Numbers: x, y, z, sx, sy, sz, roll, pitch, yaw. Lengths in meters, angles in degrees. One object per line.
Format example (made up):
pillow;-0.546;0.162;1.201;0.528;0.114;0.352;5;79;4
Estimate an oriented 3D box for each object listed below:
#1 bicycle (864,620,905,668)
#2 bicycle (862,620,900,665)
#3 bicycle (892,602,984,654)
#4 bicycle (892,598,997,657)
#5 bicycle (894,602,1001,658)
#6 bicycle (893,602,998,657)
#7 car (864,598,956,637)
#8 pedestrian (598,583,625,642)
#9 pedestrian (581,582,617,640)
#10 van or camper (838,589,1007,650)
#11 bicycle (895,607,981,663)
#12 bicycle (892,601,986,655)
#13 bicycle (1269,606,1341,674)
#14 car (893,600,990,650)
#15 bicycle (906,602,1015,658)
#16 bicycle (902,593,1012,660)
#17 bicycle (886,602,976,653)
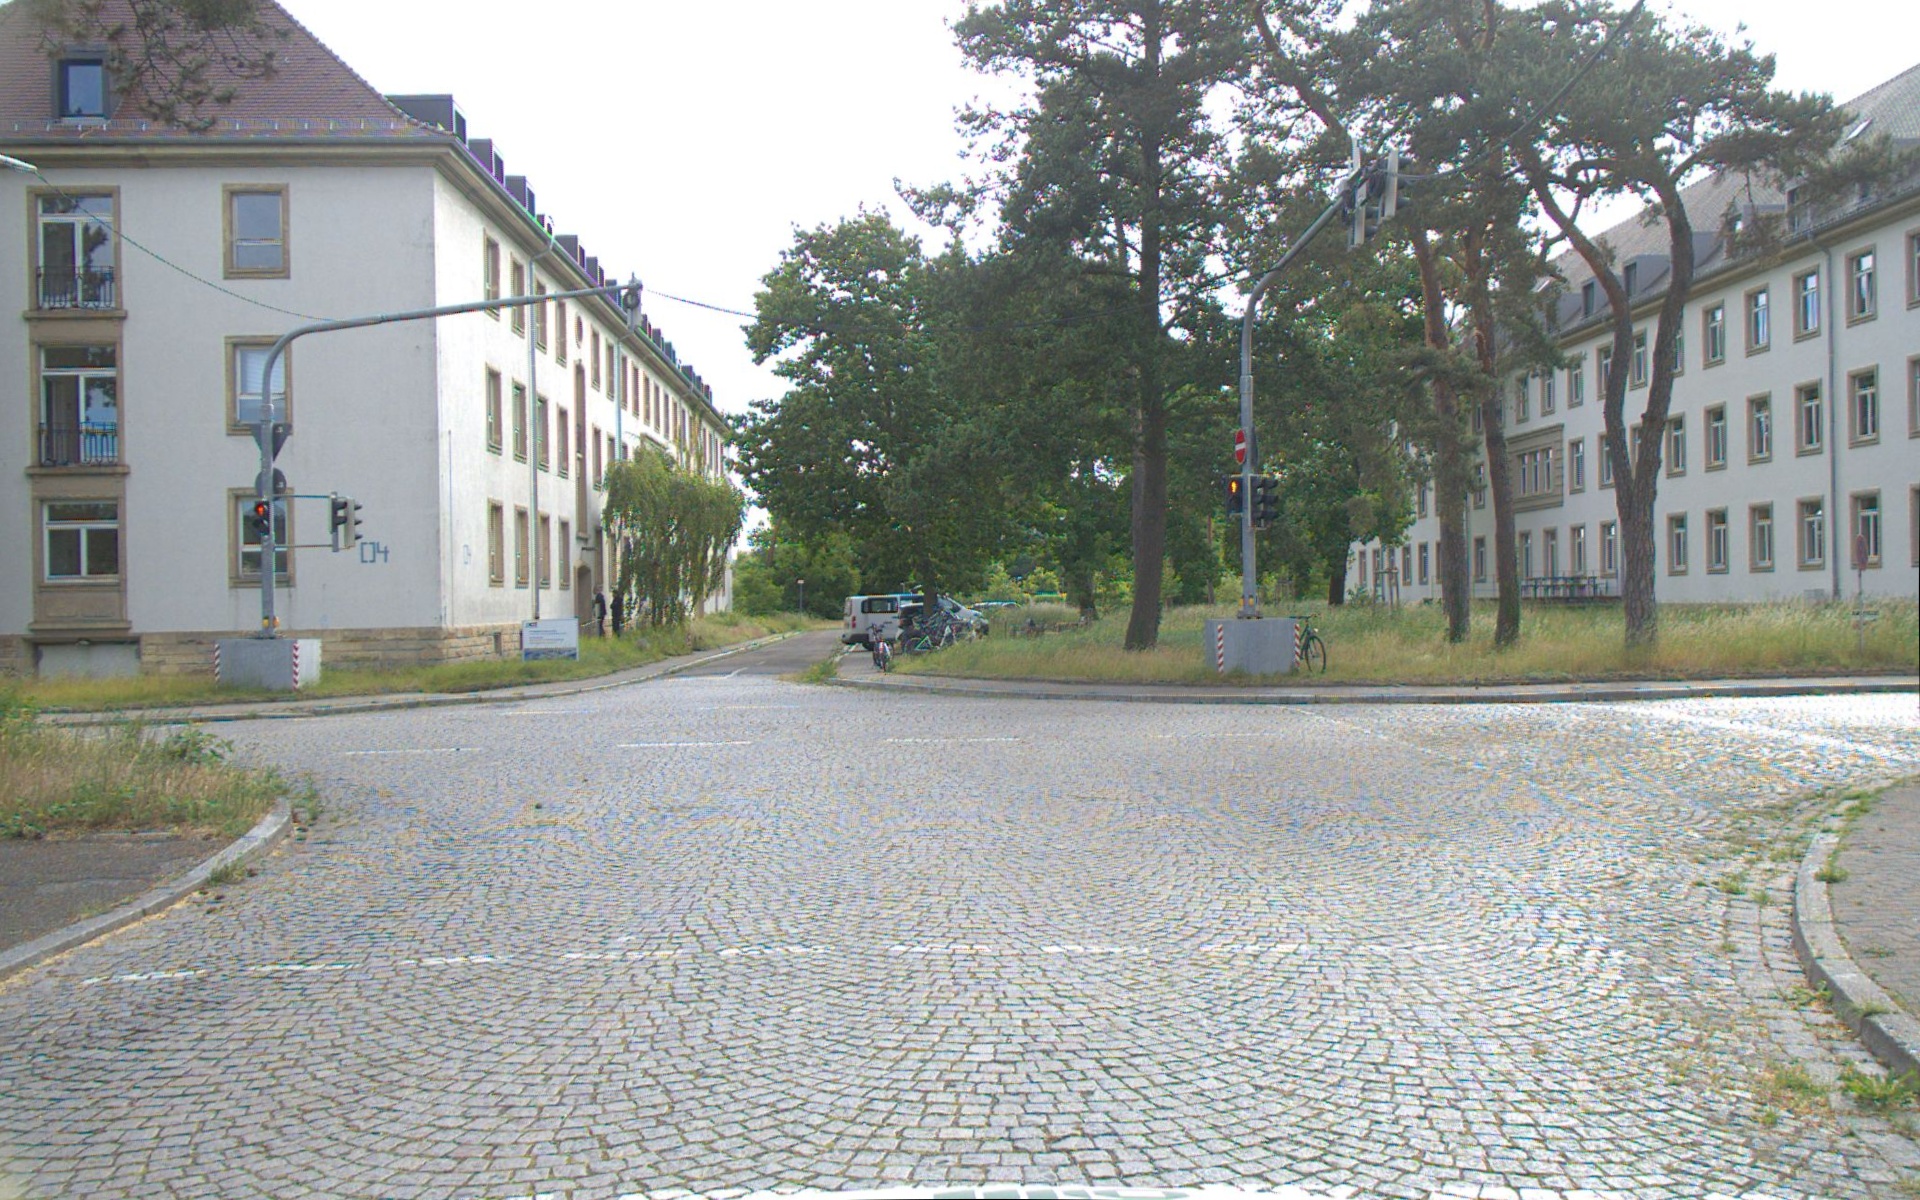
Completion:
bicycle;-1.698;0.973;37.133;0.882;1.014;1.977;-1;0;-3
bicycle;-1.856;0.995;39.219;0.712;1.014;1.979;-1;0;2
bicycle;-0.636;0.772;46.208;2.517;1.396;0.950;-1;0;-4
bicycle;-0.394;0.682;41.185;2.567;1.391;0.874;-1;0;-3
bicycle;-0.341;0.774;43.523;2.747;1.396;0.950;-1;0;-3
bicycle;-0.406;0.783;44.414;2.747;1.396;0.950;-1;0;-3
car;-2.213;0.755;72.455;3.909;1.628;1.702;-1;0;-5
pedestrian;-11.797;0.432;55.929;0.850;1.966;0.834;1;-1;-14
pedestrian;-12.067;0.378;55.304;1.174;1.903;1.545;0;-1;-12
van or camper;-1.341;0.677;58.661;5.646;1.991;2.229;-1;0;-15
bicycle;-0.553;0.855;40.565;2.071;1.329;0.874;-1;0;-3
bicycle;-0.589;0.764;45.370;2.517;1.396;0.950;-1;0;-4
bicycle;5.979;0.676;28.752;0.632;1.080;1.832;-5;0;-5
car;-0.629;0.823;55.176;3.160;1.649;1.936;0;-1;-3
bicycle;0.000;0.769;43.003;2.747;1.396;0.950;-1;0;-3
bicycle;-0.090;0.663;42.069;2.747;1.611;0.950;-1;0;-3
bicycle;-0.830;0.780;47.038;2.517;1.396;0.950;-1;0;-4
